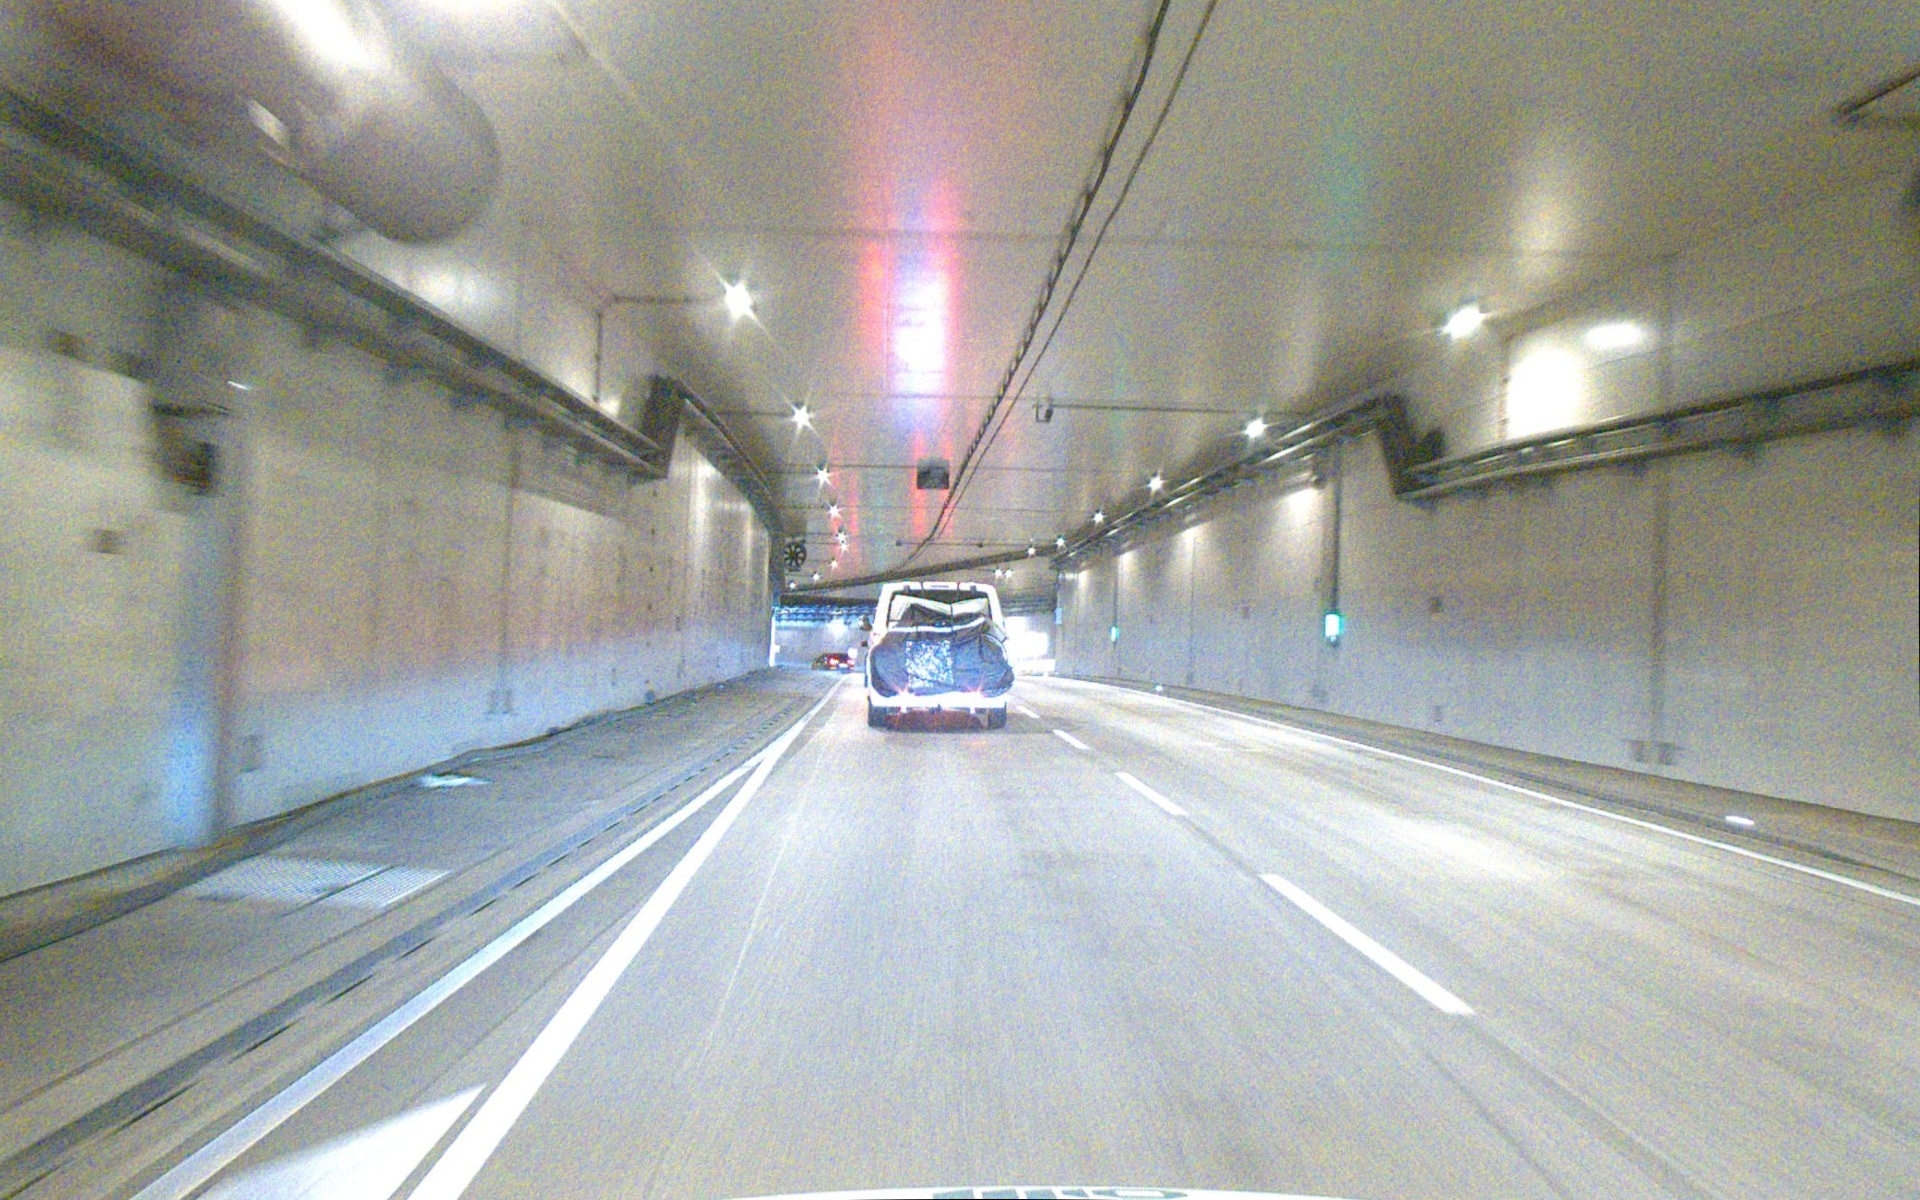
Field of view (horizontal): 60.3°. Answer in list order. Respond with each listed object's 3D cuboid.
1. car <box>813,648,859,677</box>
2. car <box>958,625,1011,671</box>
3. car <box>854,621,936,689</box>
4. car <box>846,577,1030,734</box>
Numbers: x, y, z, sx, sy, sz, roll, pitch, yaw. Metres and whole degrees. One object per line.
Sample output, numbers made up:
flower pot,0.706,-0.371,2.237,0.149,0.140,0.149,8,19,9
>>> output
car,-7.772,3.889,103.213,1.796,1.659,3.820,4,-3,-20
car,0.883,1.794,61.435,1.572,1.659,3.350,0,-2,-6
car,-1.497,1.234,37.259,1.572,1.420,3.272,2,-2,-6
car,-0.440,0.706,22.610,1.955,1.880,5.293,1,-1,-7
